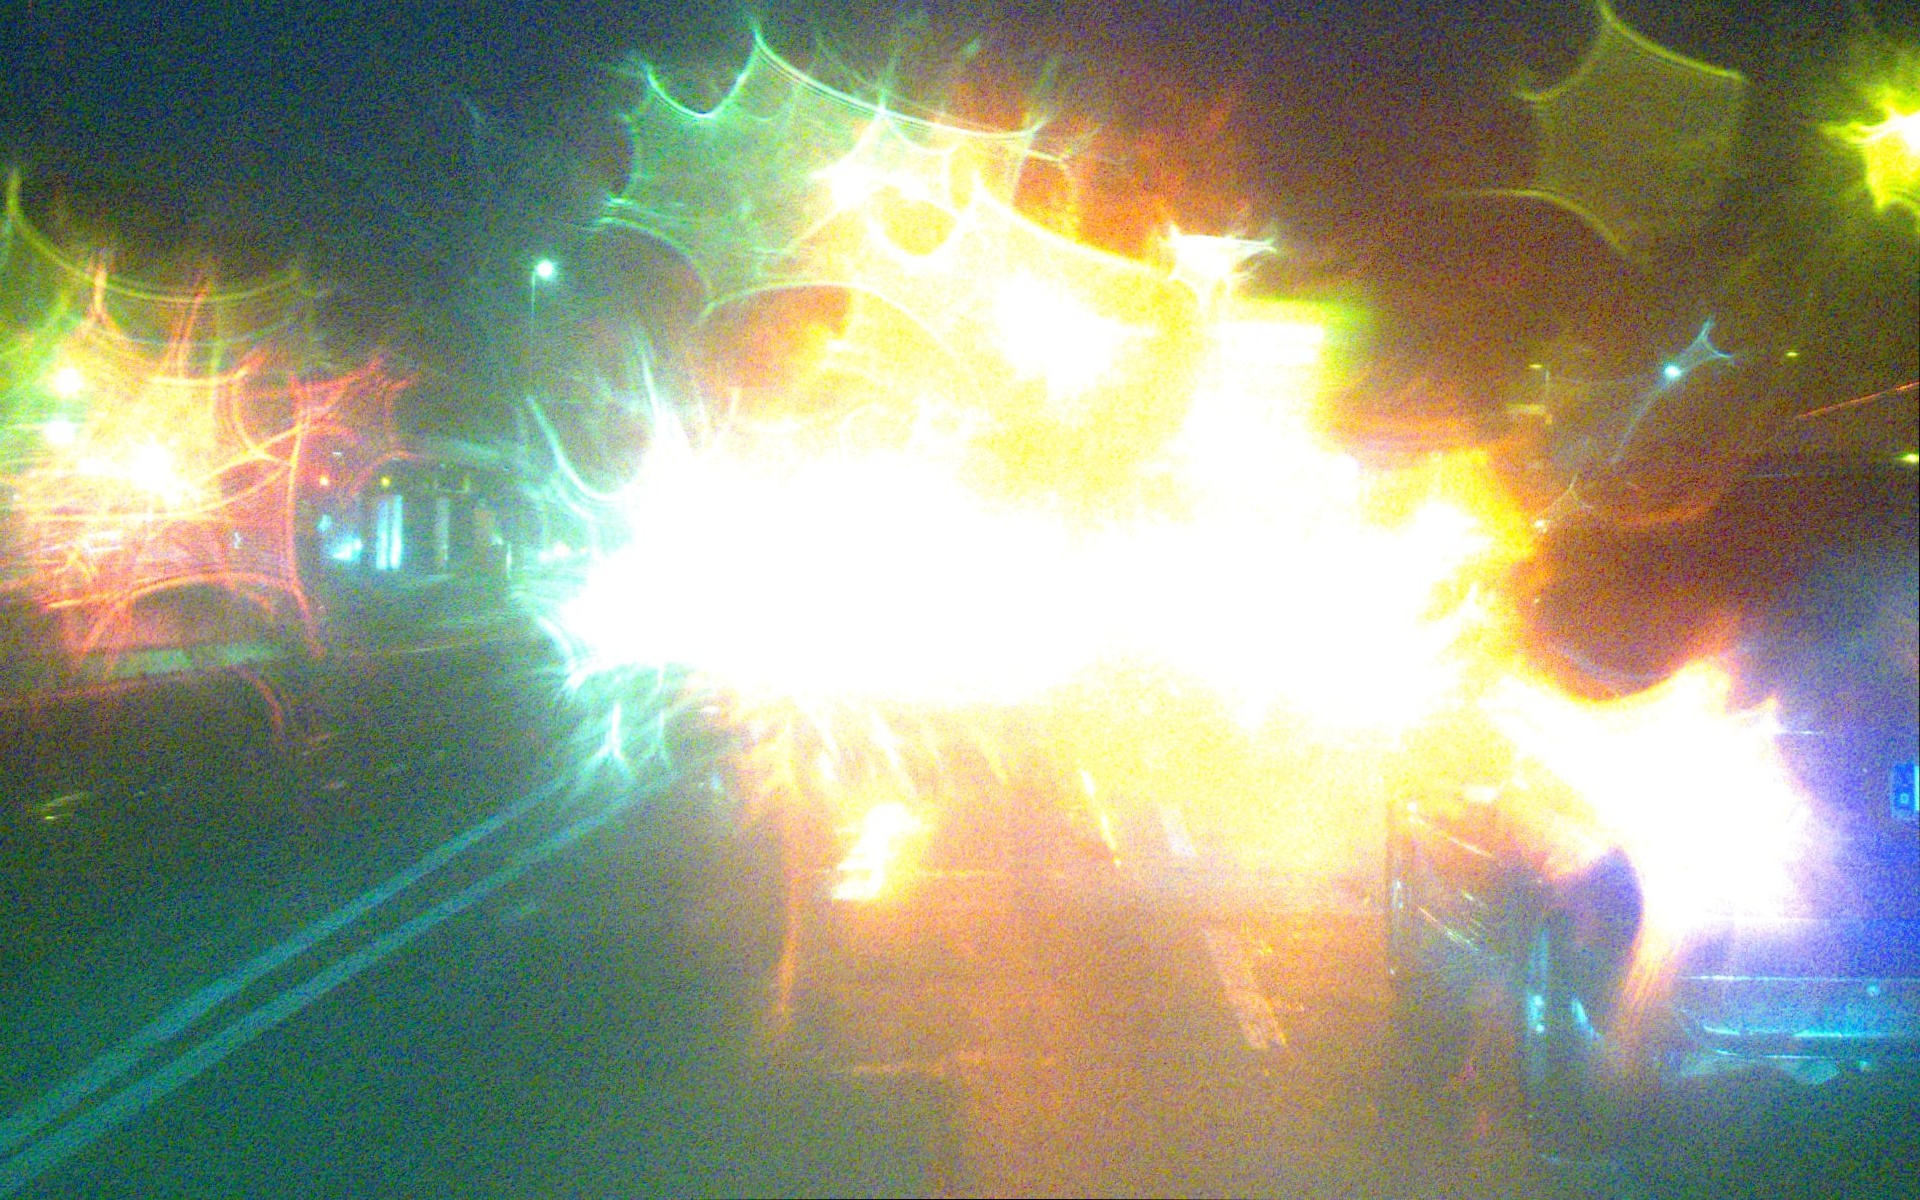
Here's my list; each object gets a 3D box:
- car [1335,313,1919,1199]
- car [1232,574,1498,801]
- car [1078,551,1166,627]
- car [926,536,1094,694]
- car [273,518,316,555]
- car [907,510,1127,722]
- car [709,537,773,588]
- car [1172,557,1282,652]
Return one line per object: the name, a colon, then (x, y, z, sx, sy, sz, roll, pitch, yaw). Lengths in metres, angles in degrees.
car: (2.300, 0.340, 9.379, 1.942, 1.965, 4.219, 1, 1, -2)
car: (2.968, 0.578, 25.452, 1.768, 1.445, 4.217, 1, 1, 6)
car: (3.187, -0.223, 67.867, 1.663, 1.445, 4.049, 1, 0, 2)
car: (0.604, 0.125, 38.252, 1.709, 1.632, 3.730, -1, 1, 3)
car: (-35.659, -3.412, 184.236, 1.993, 1.905, 4.744, 1, 1, -8)
car: (0.539, 0.105, 28.984, 1.694, 1.624, 3.852, 1, 1, 3)
car: (-6.739, -1.164, 105.588, 1.708, 1.493, 3.731, -1, 1, -7)
car: (4.225, 0.050, 54.345, 1.663, 1.445, 4.049, 0, 0, 5)
